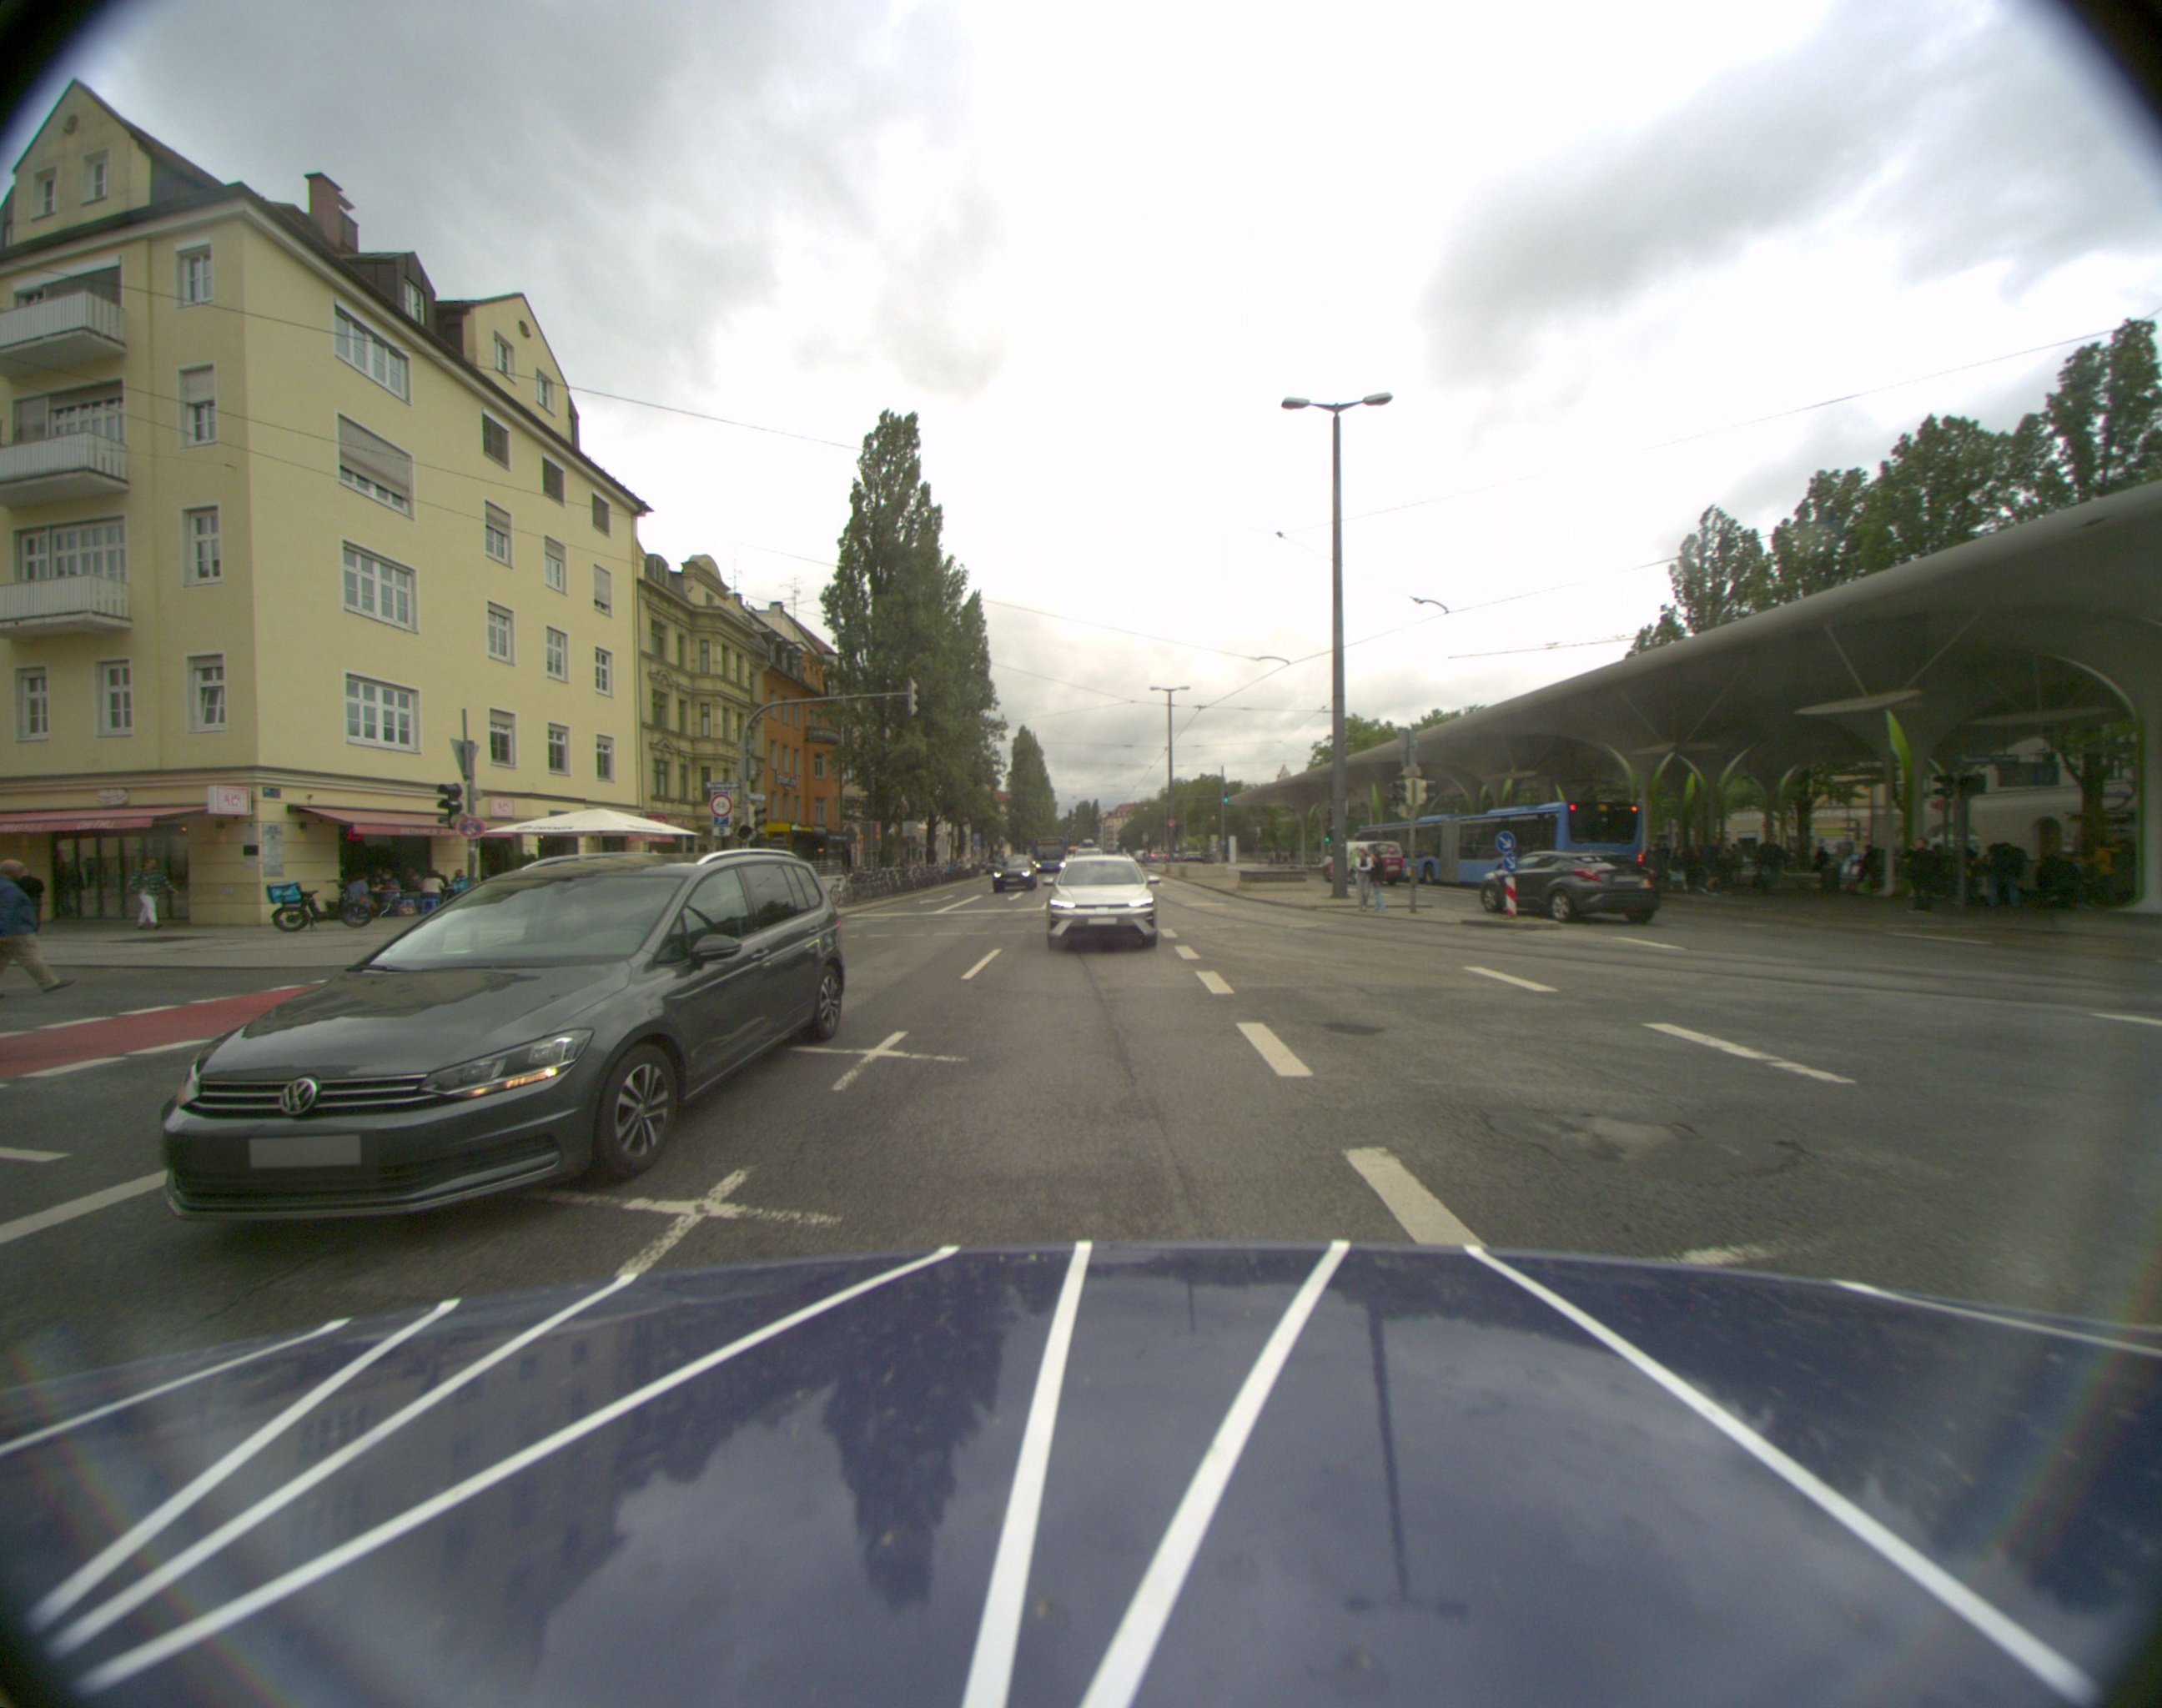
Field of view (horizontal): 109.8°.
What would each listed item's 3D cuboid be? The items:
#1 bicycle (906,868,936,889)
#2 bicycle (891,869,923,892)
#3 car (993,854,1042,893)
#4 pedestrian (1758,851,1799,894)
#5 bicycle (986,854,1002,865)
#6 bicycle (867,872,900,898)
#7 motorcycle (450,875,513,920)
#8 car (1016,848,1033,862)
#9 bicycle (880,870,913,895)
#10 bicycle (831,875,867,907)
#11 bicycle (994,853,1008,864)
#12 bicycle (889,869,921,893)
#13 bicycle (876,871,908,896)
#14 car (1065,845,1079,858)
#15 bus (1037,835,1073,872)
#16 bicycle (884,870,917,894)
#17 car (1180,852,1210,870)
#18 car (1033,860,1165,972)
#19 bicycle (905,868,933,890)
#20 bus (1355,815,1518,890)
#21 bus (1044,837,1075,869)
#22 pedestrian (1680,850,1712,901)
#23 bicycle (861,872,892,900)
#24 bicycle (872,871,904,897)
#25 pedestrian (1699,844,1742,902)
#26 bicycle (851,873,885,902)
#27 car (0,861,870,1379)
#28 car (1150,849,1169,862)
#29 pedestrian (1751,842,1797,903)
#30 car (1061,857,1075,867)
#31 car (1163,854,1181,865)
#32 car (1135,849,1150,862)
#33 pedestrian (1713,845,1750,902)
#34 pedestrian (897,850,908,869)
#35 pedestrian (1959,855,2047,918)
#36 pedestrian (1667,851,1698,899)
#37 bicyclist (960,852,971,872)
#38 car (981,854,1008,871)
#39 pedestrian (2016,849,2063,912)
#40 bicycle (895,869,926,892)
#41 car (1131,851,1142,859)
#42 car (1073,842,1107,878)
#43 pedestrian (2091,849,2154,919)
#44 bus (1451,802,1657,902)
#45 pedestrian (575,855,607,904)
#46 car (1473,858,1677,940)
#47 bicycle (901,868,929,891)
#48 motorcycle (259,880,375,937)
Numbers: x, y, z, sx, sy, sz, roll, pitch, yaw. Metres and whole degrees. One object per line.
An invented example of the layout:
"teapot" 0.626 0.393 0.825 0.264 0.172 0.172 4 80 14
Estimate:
"bicycle" -7.828 1.190 37.128 1.836 0.990 0.349 1 1 41
"bicycle" -7.886 1.202 34.386 1.836 0.990 0.349 1 1 40
"car" -2.846 0.835 34.735 1.780 1.495 3.969 -4 1 1
"pedestrian" 26.204 0.690 28.556 0.812 1.602 0.791 -1 1 7
"bicycle" -8.706 0.526 75.924 1.740 1.096 0.360 0 1 36
"bicycle" -7.862 1.219 30.169 1.836 0.990 0.349 1 1 44
"motorcycle" -16.781 1.200 21.314 0.487 1.150 1.571 -1 1 1
"car" -6.992 0.089 93.805 1.737 1.651 4.502 0 0 0
"bicycle" -7.851 1.210 32.239 1.836 0.990 0.349 1 1 40
"bicycle" -7.920 1.238 25.893 0.349 0.990 1.836 -1 1 -45
"bicycle" -8.082 0.495 76.553 0.360 1.096 1.740 -1 1 -44
"bicycle" -7.800 1.202 33.576 1.836 0.990 0.349 1 1 40
"bicycle" -7.855 1.213 31.552 1.836 0.990 0.349 1 1 44
"car" -1.935 -0.586 167.597 2.806 2.836 5.114 0 0 1
"bus" -2.255 -0.029 68.334 2.637 2.956 9.466 -3 0 1
"bicycle" -7.821 1.206 32.904 1.836 0.990 0.349 1 1 40
"car" 9.656 0.574 64.581 1.847 1.408 4.034 -1 0 -1
"car" 0.333 0.885 13.055 1.812 1.496 4.953 -1 0 2
"bicycle" -7.768 1.190 36.438 1.836 0.990 0.349 1 1 45
"bus" 16.301 -0.099 36.028 2.667 2.990 10.514 1 0 -1
"bus" -2.125 -0.076 77.332 2.637 2.956 8.534 -3 0 1
"pedestrian" 19.423 0.670 23.999 0.564 1.563 0.533 0 1 1
"bicycle" -7.983 1.227 29.603 0.349 0.990 1.836 -1 1 -43
"bicycle" -7.865 1.216 30.886 1.836 0.990 0.349 1 1 44
"pedestrian" 18.982 0.557 22.560 0.632 1.665 0.747 -1 1 -21
"bicycle" -7.886 1.229 28.094 0.349 0.990 1.836 -1 1 -45
"car" -2.992 0.930 4.909 1.776 1.637 4.708 -2 0 1
"car" 11.989 0.211 115.943 2.181 1.876 6.155 -1 0 -1
"pedestrian" 20.912 0.536 22.945 0.805 1.806 0.706 0 1 16
"car" -1.789 1.072 103.591 1.704 1.360 3.632 2 0 1
"car" 11.950 0.686 99.829 1.677 1.370 4.612 0 1 -1
"car" 8.821 0.157 109.060 1.791 1.844 4.217 0 0 -2
"pedestrian" 19.670 0.585 22.997 0.703 1.701 0.758 0 1 29
"pedestrian" -16.525 0.477 70.229 0.748 1.704 1.017 -1 1 1
"pedestrian" 21.815 0.757 18.007 1.023 1.444 0.855 0 1 14
"pedestrian" 18.721 0.647 23.659 0.614 1.496 0.471 -1 1 -1
"bicyclist" -9.144 0.652 60.203 0.681 1.594 0.939 -1 1 1
"car" -7.872 0.774 69.258 1.999 1.432 4.528 -1 0 -1
"pedestrian" 24.232 0.656 19.220 0.664 1.574 0.500 0 1 43
"bicycle" -7.879 1.199 35.041 1.836 0.990 0.349 1 1 40
"car" 11.539 0.233 158.867 1.868 1.629 4.677 1 0 -1
"car" 0.543 0.328 46.973 1.998 2.100 4.000 -1 0 0
"pedestrian" 24.294 0.684 17.728 0.597 1.601 0.624 0 1 5
"bus" 16.281 -0.068 26.989 2.667 2.990 7.513 1 0 1
"pedestrian" -16.731 0.857 25.944 0.616 1.623 0.677 -1 1 1
"car" 10.638 0.888 16.804 1.668 1.499 4.281 1 0 -1
"bicycle" -7.805 1.195 35.721 1.836 0.990 0.349 1 1 45
"motorcycle" -17.568 1.238 17.522 1.769 1.193 0.541 -1 1 -29
